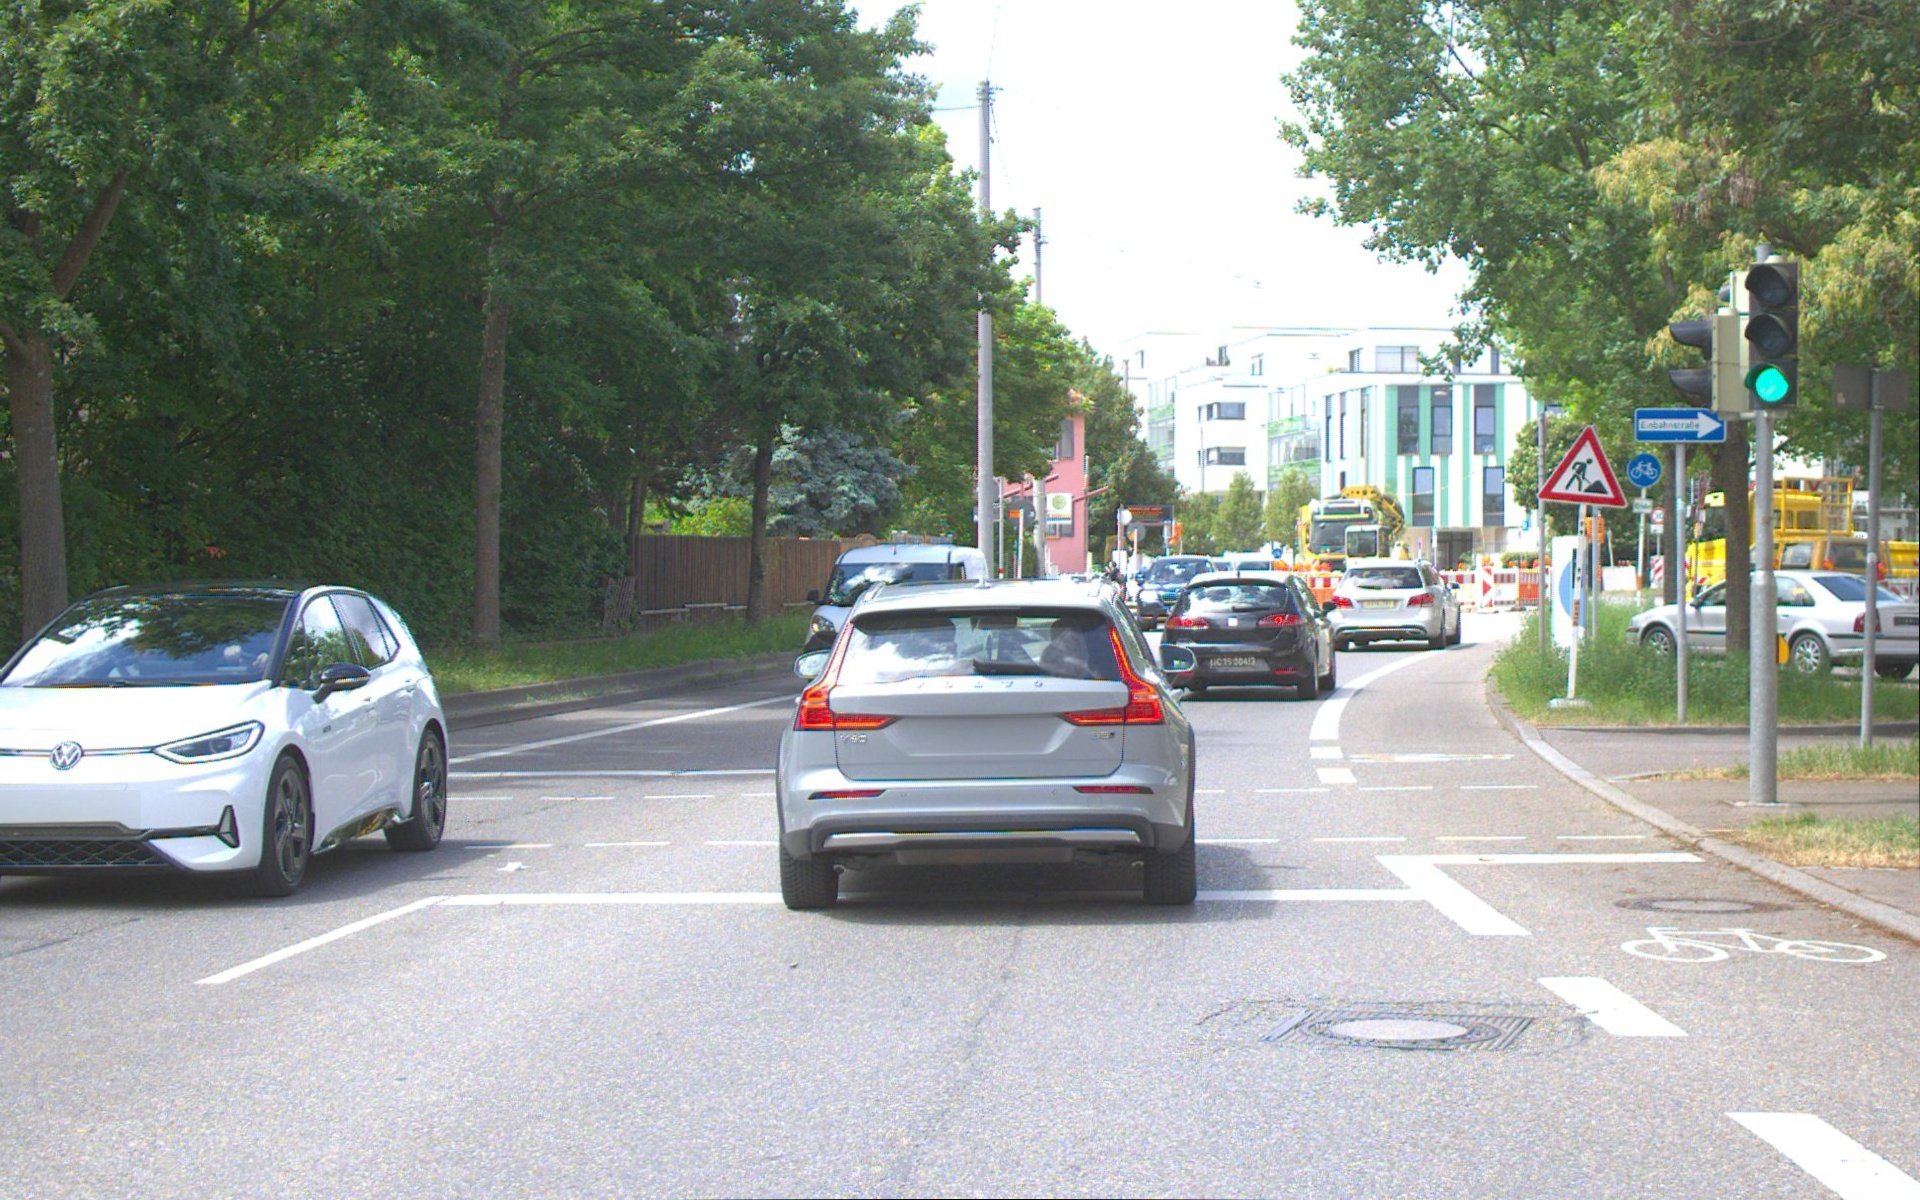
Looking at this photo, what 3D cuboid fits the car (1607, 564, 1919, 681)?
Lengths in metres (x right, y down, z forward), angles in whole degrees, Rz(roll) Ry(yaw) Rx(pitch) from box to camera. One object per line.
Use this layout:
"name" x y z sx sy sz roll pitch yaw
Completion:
"car" 11.132 0.278 46.769 1.762 1.447 4.689 1 1 -34

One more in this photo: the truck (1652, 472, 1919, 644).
"truck" 16.295 -0.753 63.334 2.761 2.998 6.706 3 0 -36

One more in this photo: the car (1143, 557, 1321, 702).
"car" 3.057 0.324 39.228 1.661 1.503 3.702 -3 0 0

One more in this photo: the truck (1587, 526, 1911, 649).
"truck" 14.051 -0.259 61.592 1.994 2.007 5.677 3 0 -36

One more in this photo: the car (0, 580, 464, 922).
"car" -3.976 0.718 17.947 1.899 1.574 3.999 -1 0 5

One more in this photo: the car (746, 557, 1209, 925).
"car" 0.176 0.591 16.403 1.928 1.535 4.000 0 0 3

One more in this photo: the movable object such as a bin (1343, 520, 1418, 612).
"movable object such as a bin" 12.479 -1.007 101.773 2.035 2.634 5.937 0 1 9

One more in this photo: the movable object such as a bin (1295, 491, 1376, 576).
"movable object such as a bin" 13.553 -2.384 124.385 2.310 2.980 6.427 0 1 1

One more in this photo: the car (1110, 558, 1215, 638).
"car" 4.501 -0.057 75.899 1.881 1.681 4.245 -1 0 9

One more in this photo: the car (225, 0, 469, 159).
"car" -7.512 -6.453 42.534 1.829 1.325 3.998 2 -1 7

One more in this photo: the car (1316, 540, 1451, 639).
"car" 7.112 -0.153 57.490 2.103 1.505 3.998 3 0 8

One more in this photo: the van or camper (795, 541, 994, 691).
"van or camper" -0.759 0.164 42.985 1.861 1.770 4.379 0 1 7
